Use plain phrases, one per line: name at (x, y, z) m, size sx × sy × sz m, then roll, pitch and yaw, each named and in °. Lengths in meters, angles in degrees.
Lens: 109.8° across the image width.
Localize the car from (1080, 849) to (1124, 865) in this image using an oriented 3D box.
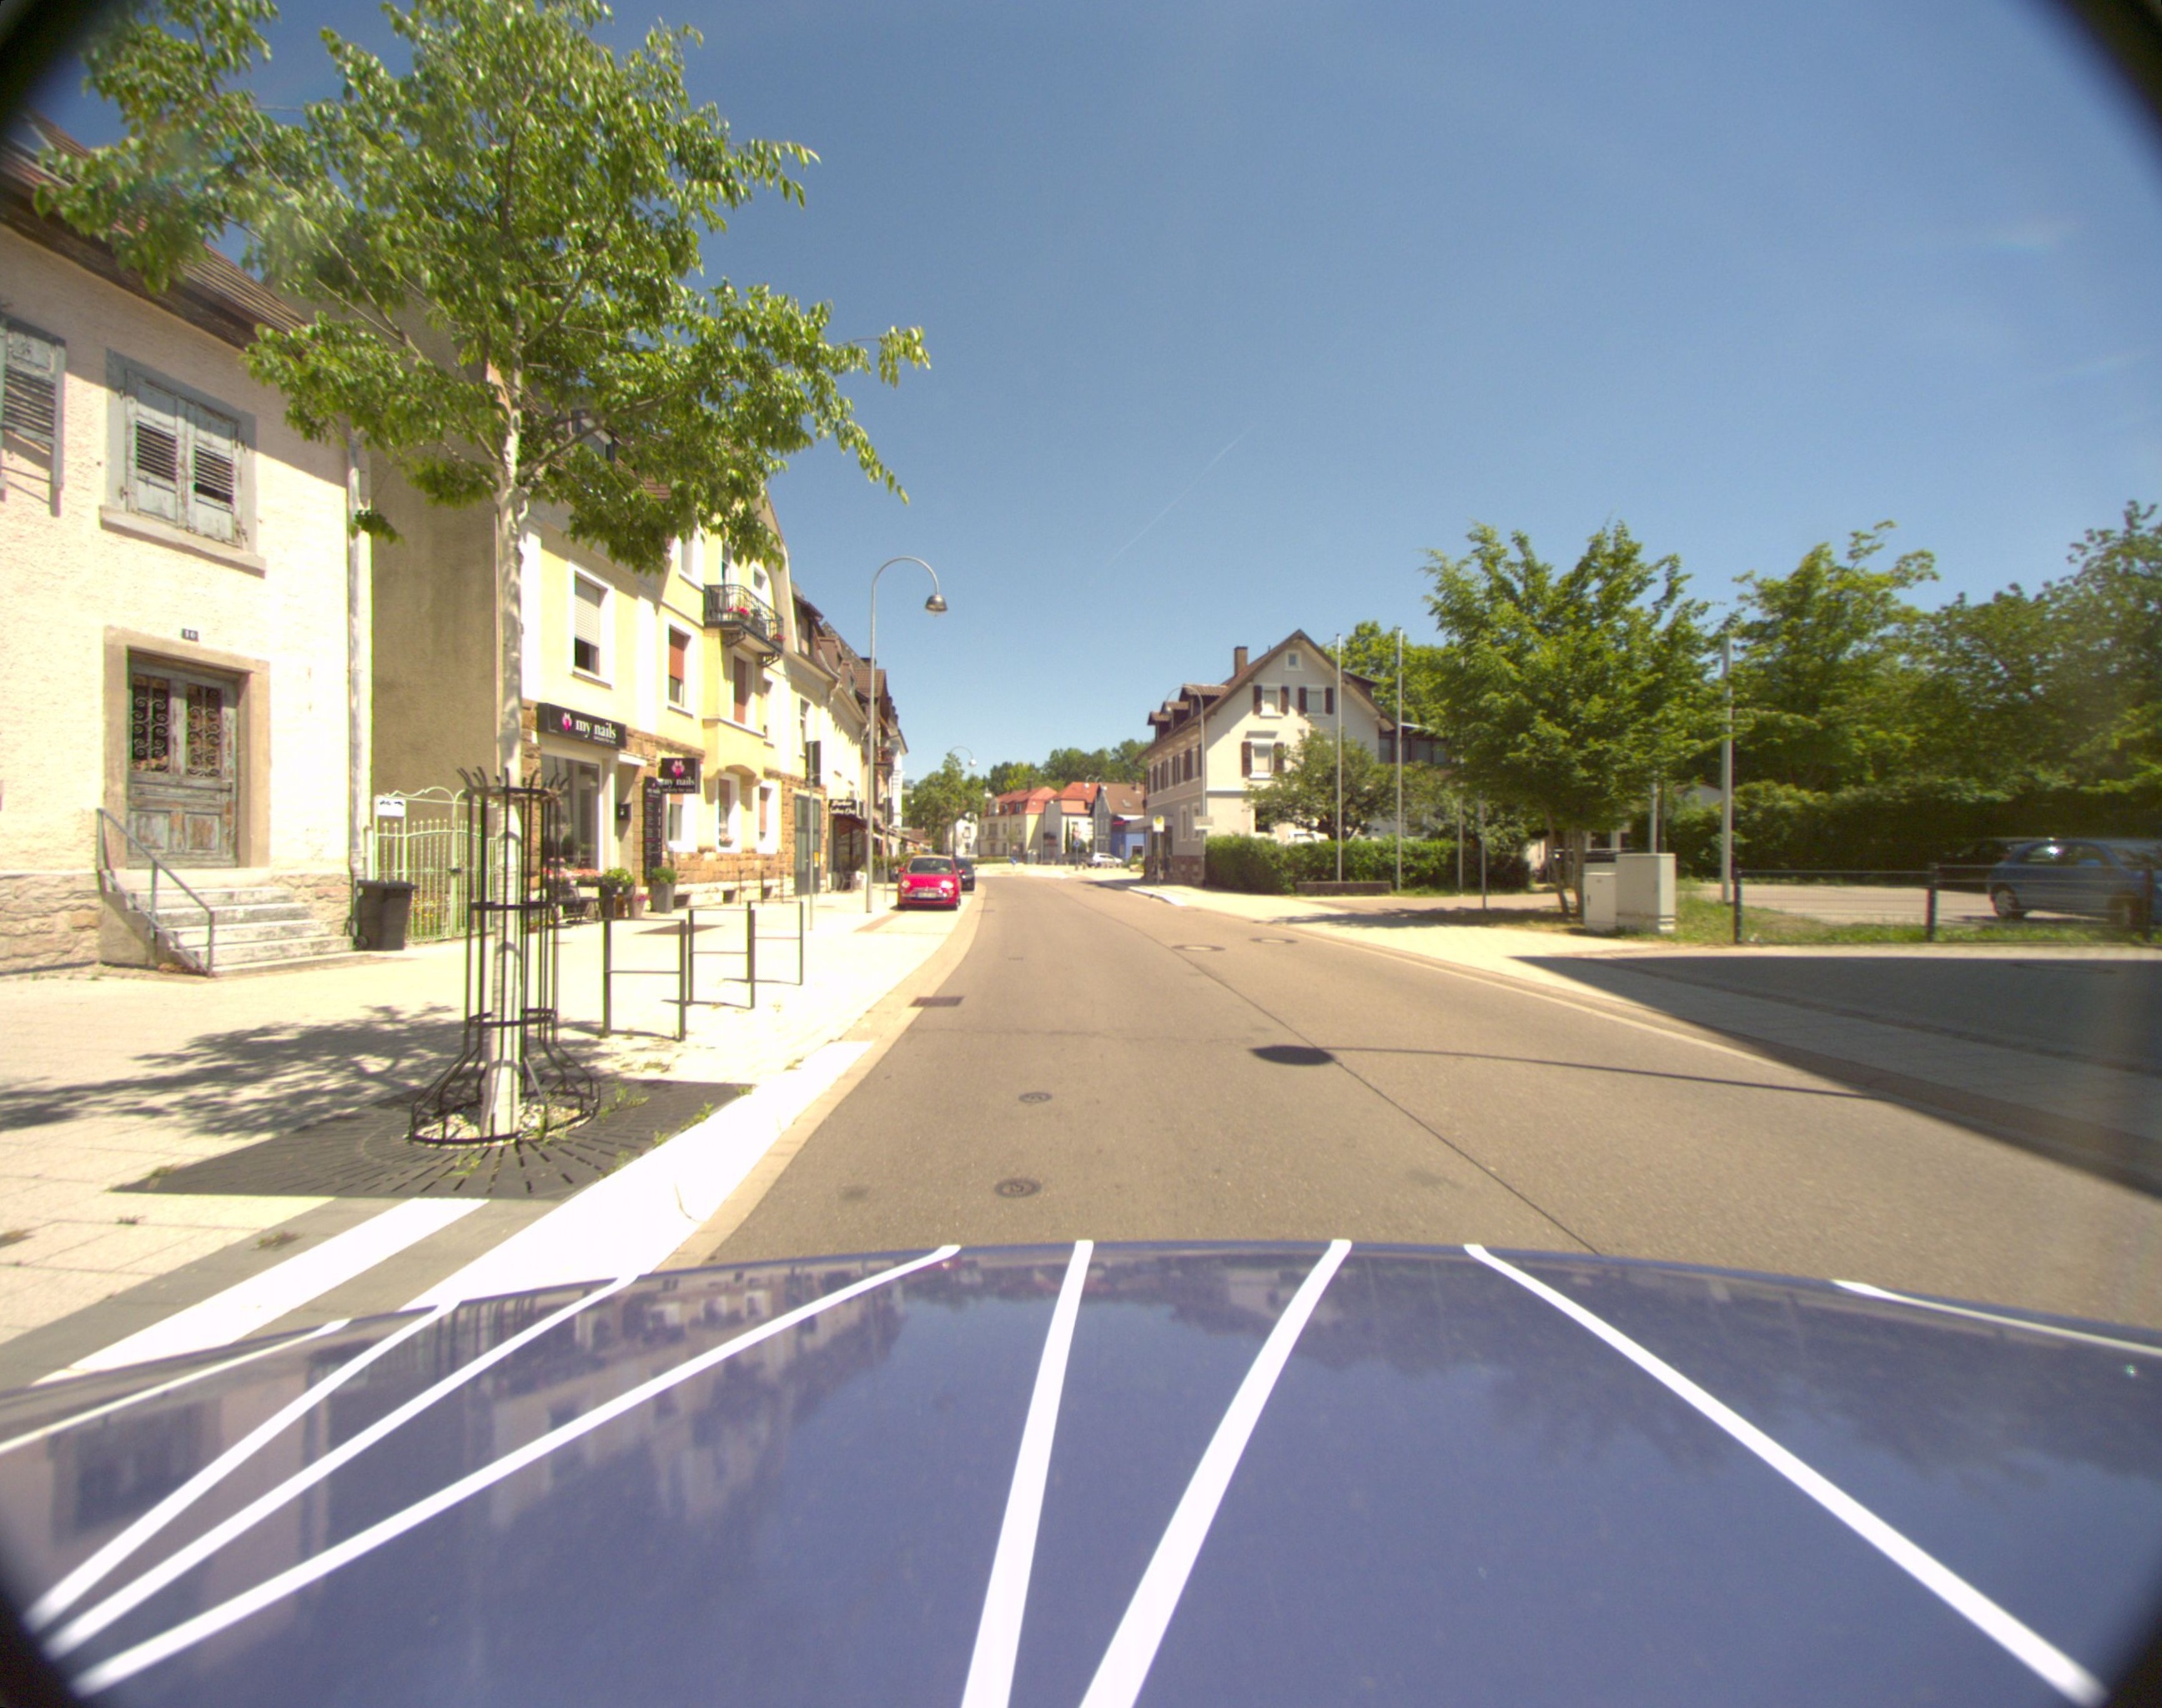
car at (2.193, 0.272, 78.364) m, size 4.198 × 1.586 × 1.995 m, roll -1°, pitch 0°, yaw -34°

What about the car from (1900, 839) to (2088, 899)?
car at (24.816, 0.372, 20.860) m, size 1.687 × 1.483 × 3.773 m, roll -1°, pitch 0°, yaw 21°

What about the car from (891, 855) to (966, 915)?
car at (-4.209, 0.800, 21.383) m, size 1.684 × 1.505 × 3.384 m, roll 2°, pitch 0°, yaw -5°

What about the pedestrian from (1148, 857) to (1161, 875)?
pedestrian at (4.205, 0.678, 43.271) m, size 0.598 × 1.053 × 0.566 m, roll 0°, pitch 1°, yaw -10°

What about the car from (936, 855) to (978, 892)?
car at (-5.600, 0.830, 34.489) m, size 1.736 × 1.464 × 4.320 m, roll 2°, pitch 0°, yaw -9°

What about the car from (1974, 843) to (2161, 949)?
car at (16.619, 0.571, 11.927) m, size 1.696 × 1.477 × 4.086 m, roll 0°, pitch 0°, yaw 23°
